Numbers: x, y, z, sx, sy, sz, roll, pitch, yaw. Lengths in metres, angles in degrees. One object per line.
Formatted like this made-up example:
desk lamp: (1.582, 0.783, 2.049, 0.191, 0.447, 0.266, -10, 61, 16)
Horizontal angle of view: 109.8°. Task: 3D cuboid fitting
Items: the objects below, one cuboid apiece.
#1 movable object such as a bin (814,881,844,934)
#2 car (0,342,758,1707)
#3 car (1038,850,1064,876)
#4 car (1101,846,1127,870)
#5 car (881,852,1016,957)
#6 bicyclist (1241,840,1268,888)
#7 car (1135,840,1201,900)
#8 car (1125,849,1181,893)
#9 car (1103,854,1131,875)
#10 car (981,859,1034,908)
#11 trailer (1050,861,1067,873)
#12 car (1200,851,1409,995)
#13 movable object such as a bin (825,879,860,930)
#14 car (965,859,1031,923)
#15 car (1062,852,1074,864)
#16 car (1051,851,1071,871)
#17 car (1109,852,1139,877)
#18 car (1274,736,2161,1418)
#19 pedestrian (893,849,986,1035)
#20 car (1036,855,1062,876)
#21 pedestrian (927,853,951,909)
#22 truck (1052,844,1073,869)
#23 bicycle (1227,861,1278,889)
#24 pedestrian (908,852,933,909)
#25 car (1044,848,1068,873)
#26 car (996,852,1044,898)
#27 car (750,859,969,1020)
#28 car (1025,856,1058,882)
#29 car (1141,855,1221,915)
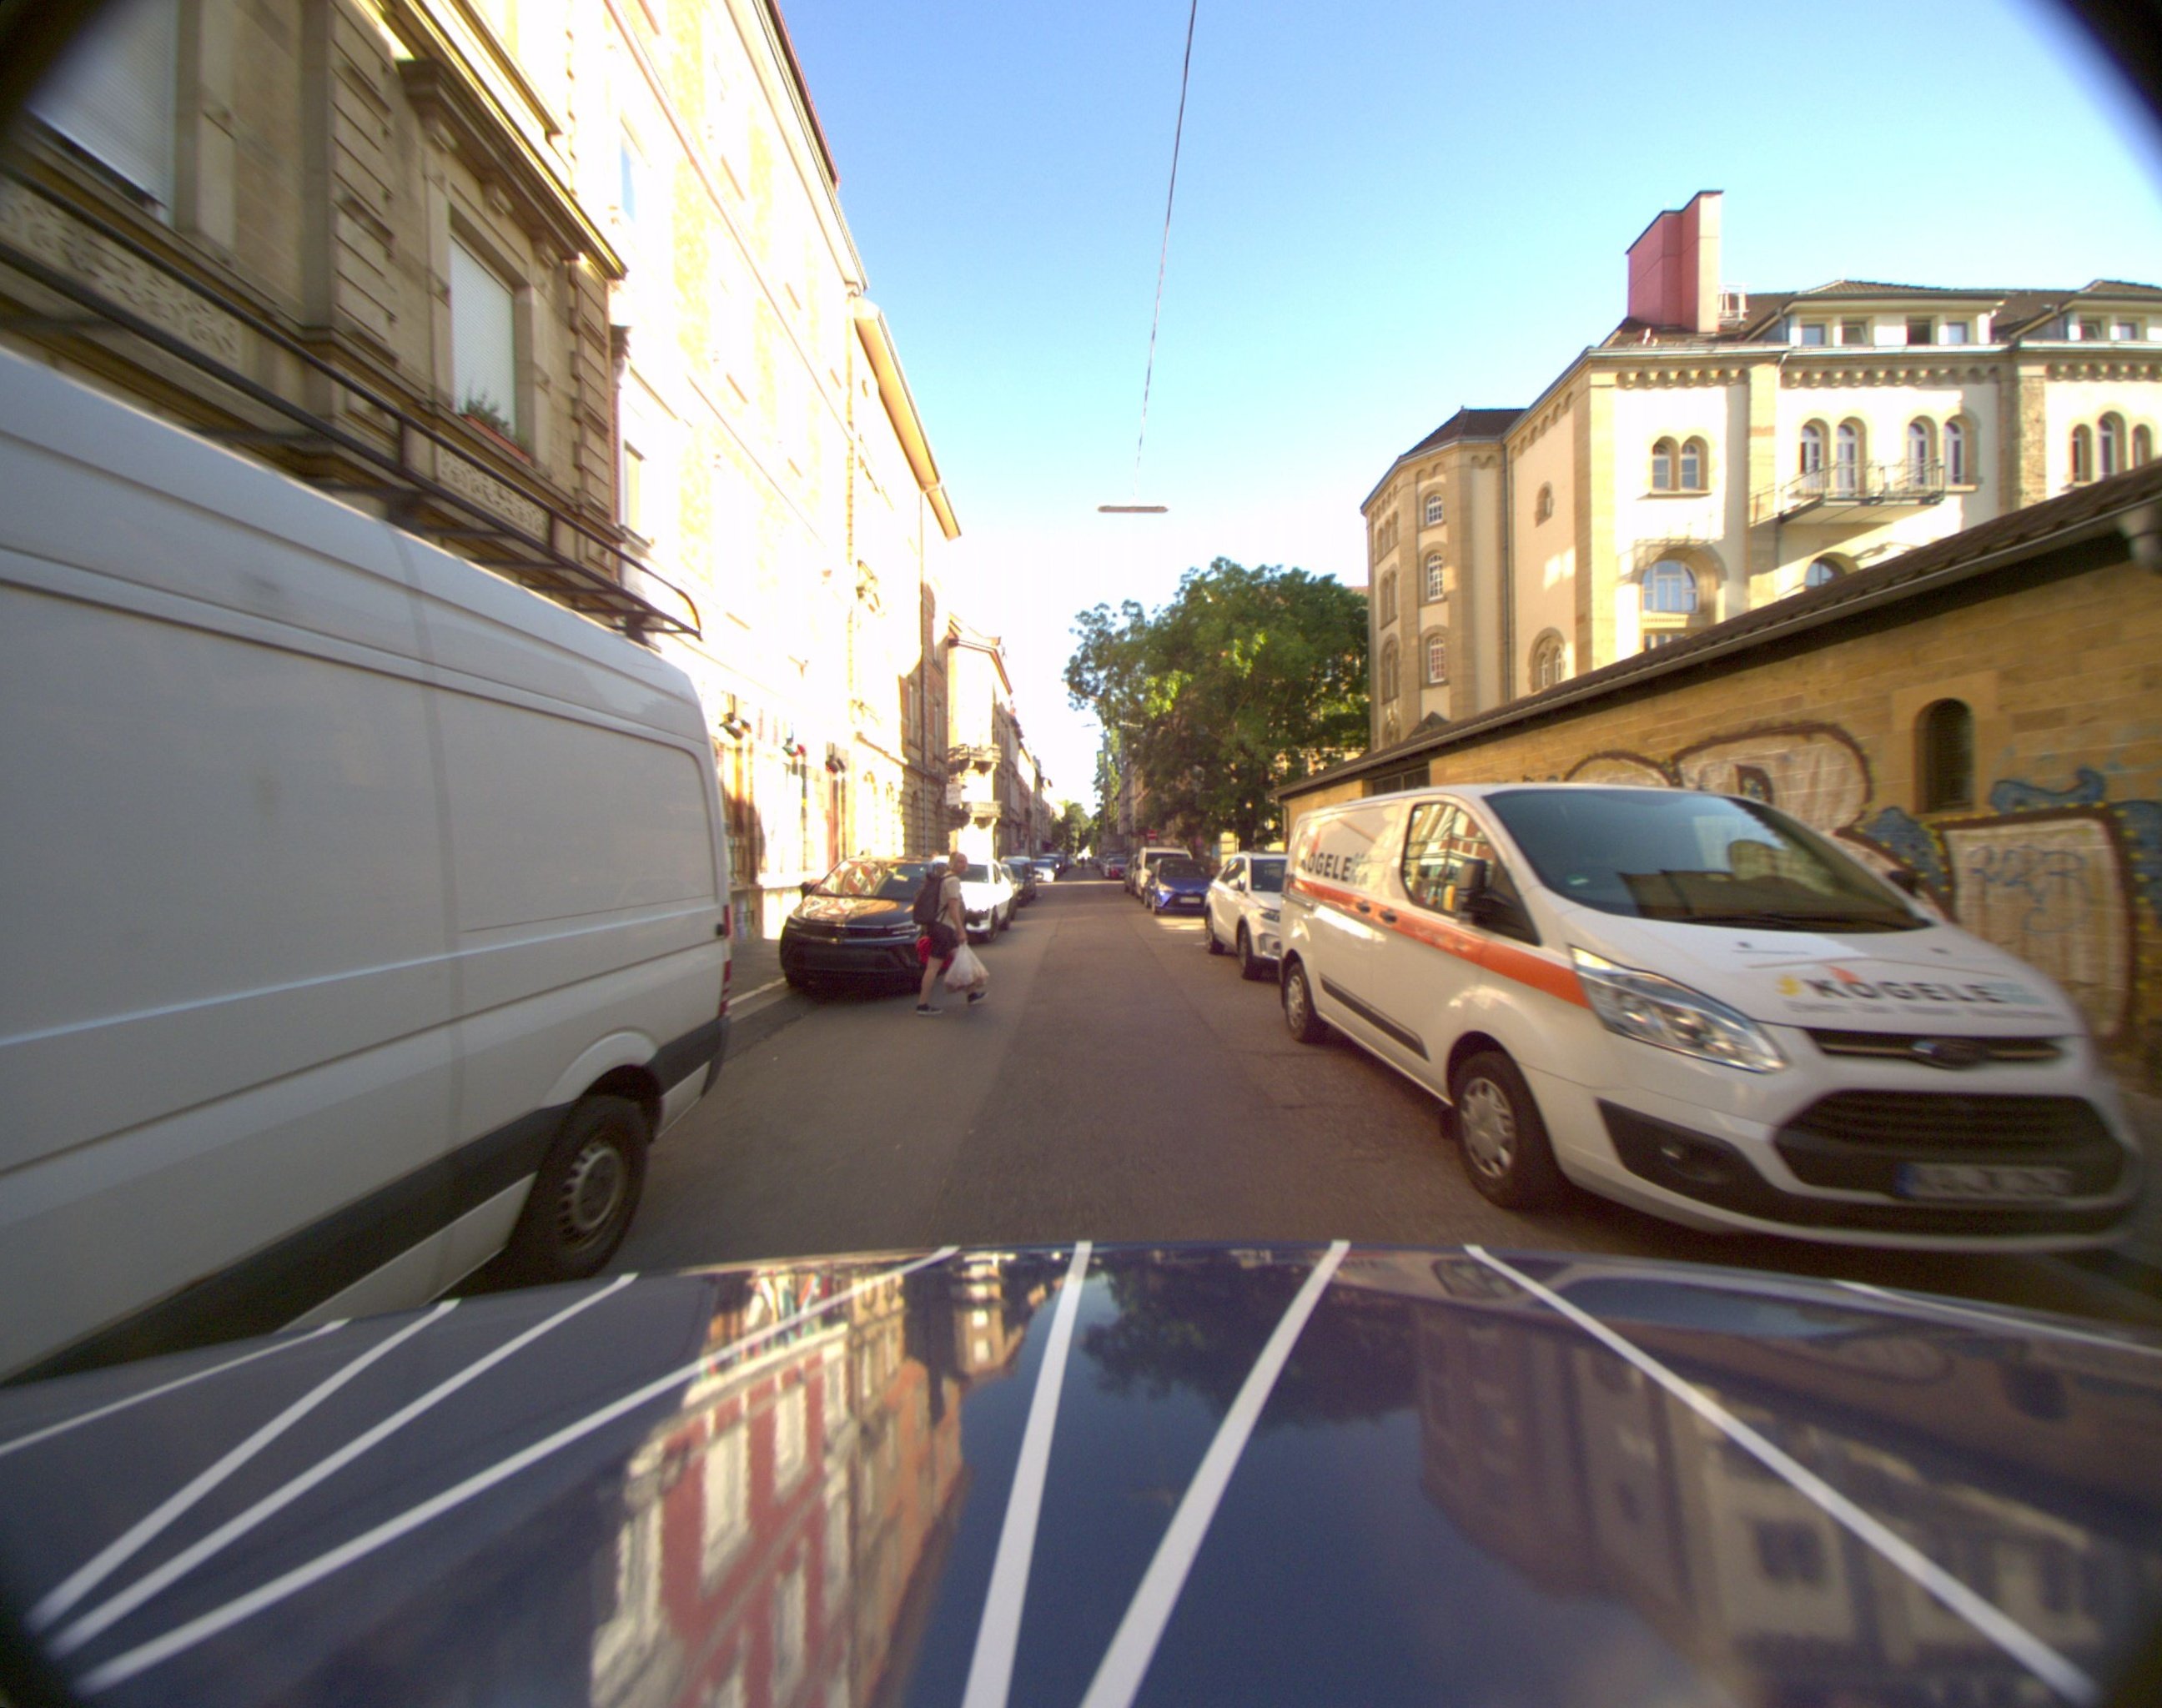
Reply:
movable object such as a bin: (-5.179, 1.089, 15.603, 0.550, 1.046, 0.602, 1, 0, -18)
car: (-2.806, 0.474, 1.032, 2.073, 2.595, 5.887, -2, 0, 1)
car: (-2.420, 0.722, 62.489, 1.774, 1.949, 4.264, -3, 0, 1)
car: (2.641, 0.272, 61.300, 1.897, 1.774, 4.607, -3, 0, 1)
car: (-2.470, 0.879, 15.263, 1.812, 1.680, 4.214, -3, 1, 1)
bicyclist: (6.481, 0.363, 28.363, 0.806, 1.713, 0.692, -4, 1, 9)
car: (2.925, 0.521, 26.314, 1.850, 1.851, 4.465, -1, 0, 1)
car: (2.879, 0.632, 31.187, 1.745, 1.637, 4.288, -1, 0, -2)
car: (2.571, 0.727, 54.847, 1.678, 1.412, 3.874, -3, 0, -1)
car: (-2.440, 0.957, 26.026, 1.539, 1.504, 3.681, -1, 0, -1)
trailer: (-2.230, 1.283, 75.624, 1.508, 1.106, 3.038, -5, 0, -1)
car: (2.820, 0.770, 10.497, 1.746, 1.577, 3.868, -2, 0, 1)
movable object such as a bin: (-5.156, 1.082, 16.424, 0.550, 1.046, 0.602, 1, 0, -33)
car: (-2.242, 0.957, 21.348, 1.576, 1.516, 3.907, -4, 0, -3)
car: (-2.029, 0.605, 119.020, 1.603, 1.652, 4.060, -4, 0, 1)
car: (-2.094, 0.708, 80.423, 1.849, 1.972, 4.576, -4, 0, 0)
car: (2.831, 0.684, 50.389, 1.727, 1.472, 4.089, -3, 0, 1)
car: (2.662, 0.635, 4.469, 1.869, 1.946, 4.609, 0, 0, 0)
pedestrian: (-1.444, 0.847, 7.711, 0.679, 1.762, 0.640, -4, 1, -27)
car: (-2.287, 0.817, 55.120, 1.670, 1.470, 3.888, -1, 0, 1)
pedestrian: (-4.130, 0.775, 22.137, 0.592, 1.594, 0.727, 0, 0, -2)
truck: (-2.186, 0.255, 88.243, 2.154, 2.642, 6.252, 3, 0, -2)
bicycle: (6.396, 0.773, 28.381, 1.765, 0.917, 0.827, -4, 0, 9)
pedestrian: (-4.616, 0.755, 21.835, 0.575, 1.612, 0.734, 0, 0, -2)
car: (-2.157, 0.549, 67.770, 1.836, 2.002, 4.741, -3, 0, 1)
car: (-2.370, 0.767, 30.371, 1.708, 1.704, 3.937, -1, 0, -1)
car: (-2.649, 0.928, 10.066, 1.691, 1.633, 3.924, -2, 0, 0)
car: (-2.487, 0.928, 48.789, 1.710, 1.450, 4.511, -3, 0, 1)
car: (2.683, 0.784, 21.097, 1.691, 1.468, 3.860, 1, 0, 0)
